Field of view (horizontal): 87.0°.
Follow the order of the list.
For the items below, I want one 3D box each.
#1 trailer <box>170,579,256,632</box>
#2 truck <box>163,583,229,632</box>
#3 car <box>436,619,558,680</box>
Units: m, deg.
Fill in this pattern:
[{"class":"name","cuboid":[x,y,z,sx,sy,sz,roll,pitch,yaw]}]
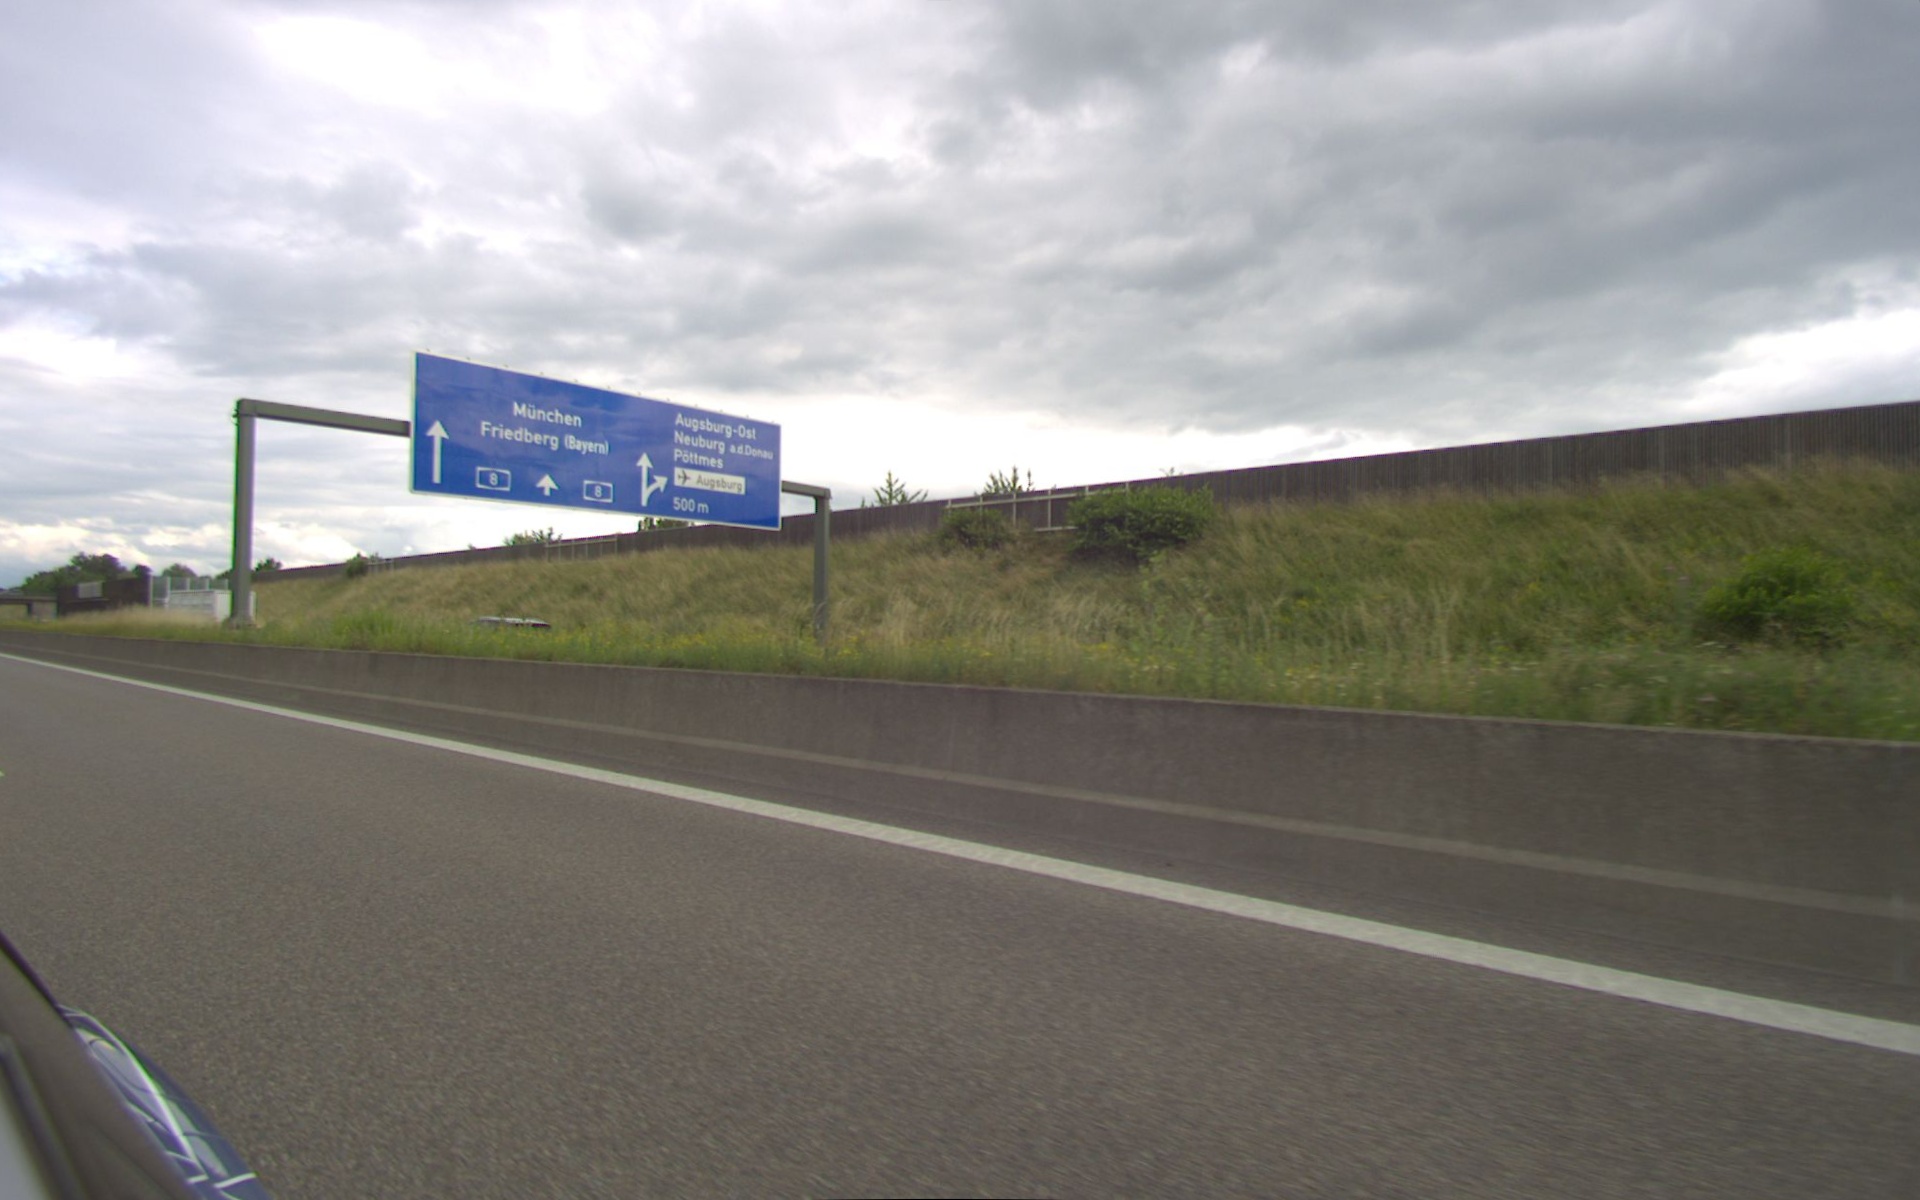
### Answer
[{"class":"trailer","cuboid":[-56.945,0.516,76.968,12.259,3.705,2.747,-1,-3,42]},{"class":"truck","cuboid":[-60.751,0.630,80.408,7.486,3.705,2.697,-1,-3,42]},{"class":"car","cuboid":[-11.681,1.215,25.467,3.330,1.399,1.520,-2,-1,40]}]
